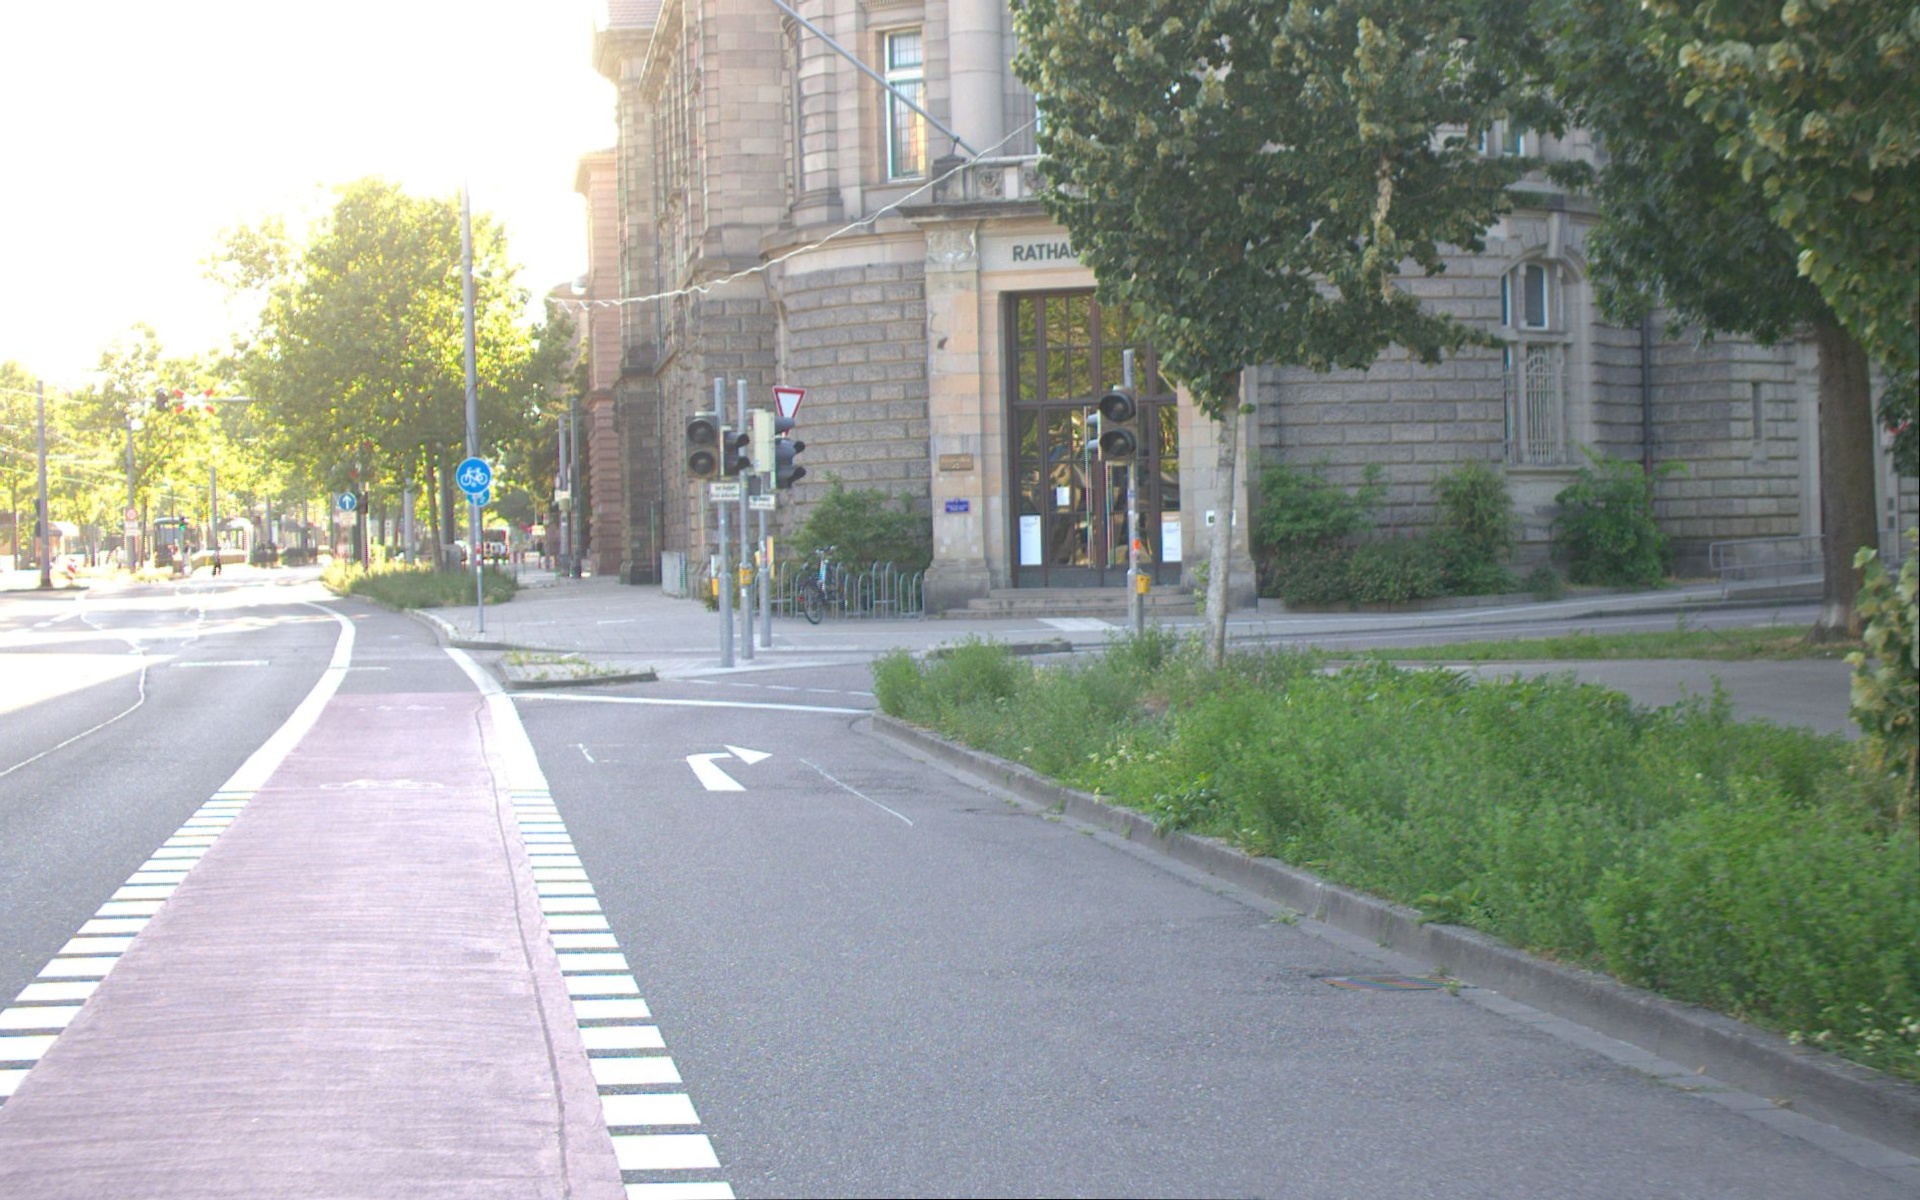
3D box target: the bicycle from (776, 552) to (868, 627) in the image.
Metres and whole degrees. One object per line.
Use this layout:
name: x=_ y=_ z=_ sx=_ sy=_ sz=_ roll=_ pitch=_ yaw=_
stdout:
bicycle: x=-2.284 y=-0.188 z=57.301 sx=0.867 sy=1.192 sz=2.238 roll=-1 pitch=1 yaw=15
